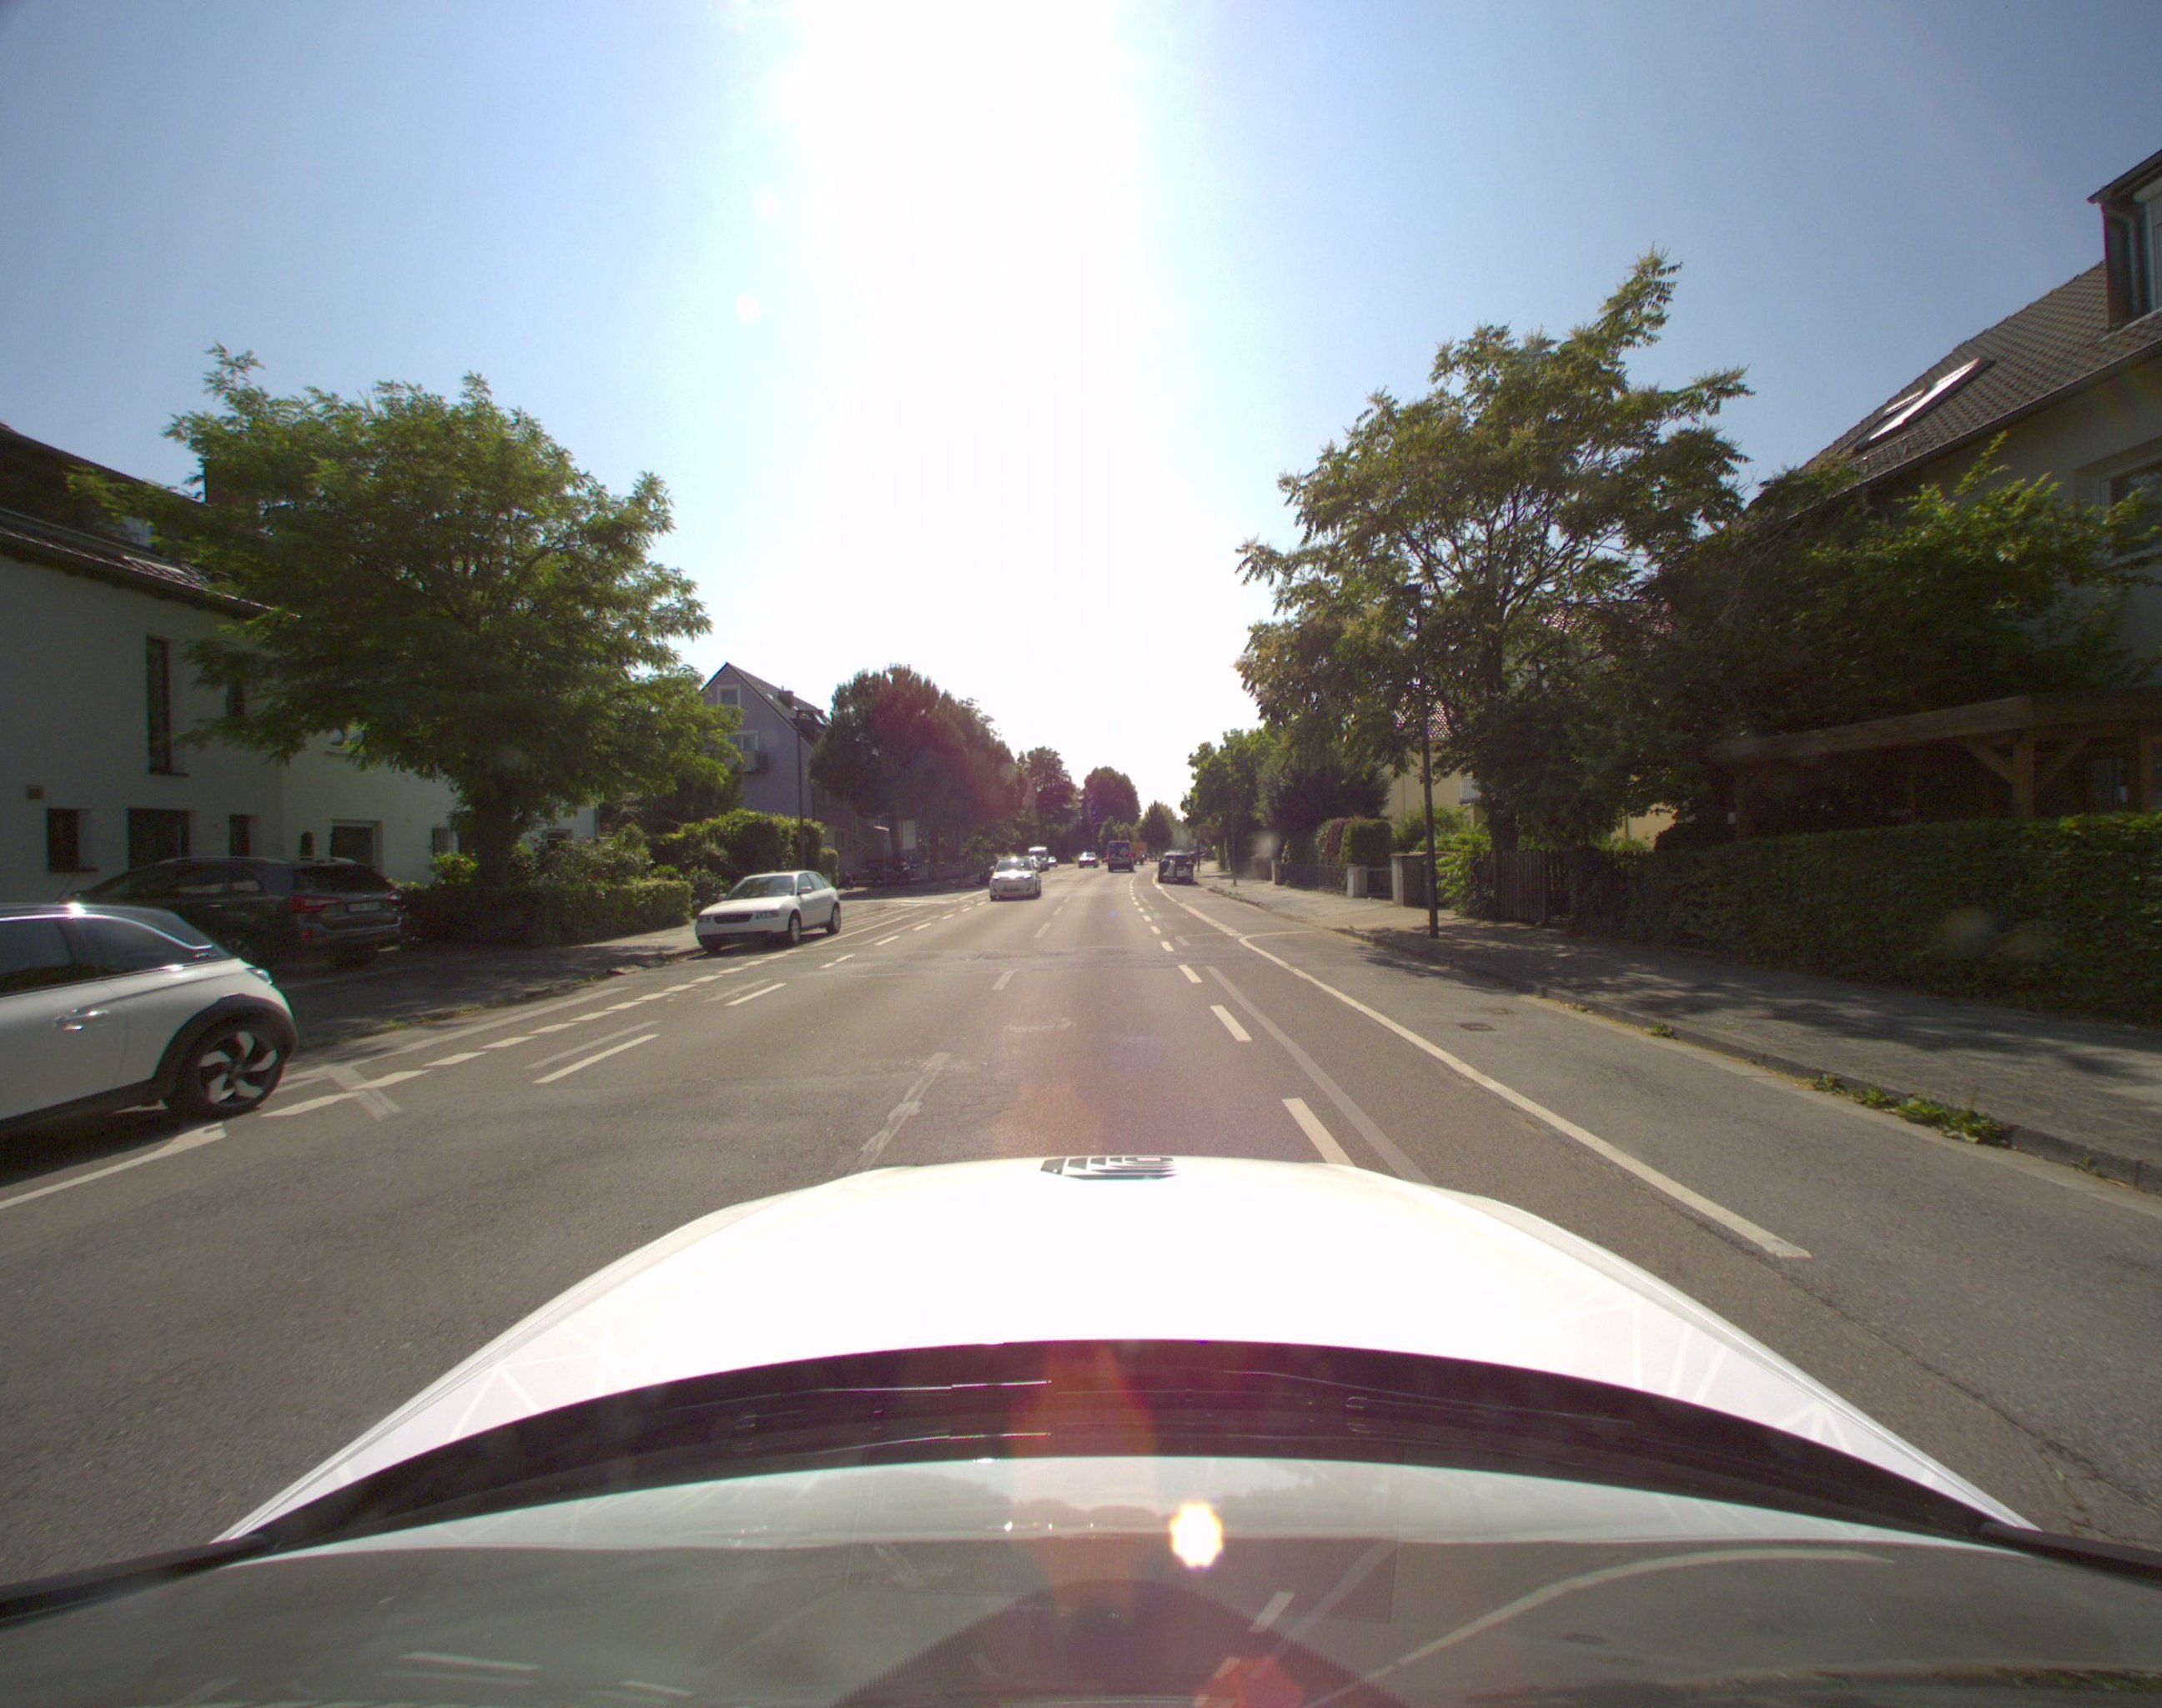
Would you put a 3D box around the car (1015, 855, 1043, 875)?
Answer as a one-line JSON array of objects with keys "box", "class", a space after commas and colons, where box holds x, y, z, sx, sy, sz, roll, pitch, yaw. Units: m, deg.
[{"box": [-4.312, 0.886, 67.409, 1.827, 1.595, 3.777, -2, 0, 3], "class": "car"}]

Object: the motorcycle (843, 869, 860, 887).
[{"box": [-12.845, 1.331, 45.523, 0.643, 0.990, 2.338, -2, 0, -22], "class": "motorcycle"}]

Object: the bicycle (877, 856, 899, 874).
[{"box": [-13.284, 0.748, 56.055, 0.531, 1.181, 1.456, -1, 2, 33], "class": "bicycle"}]

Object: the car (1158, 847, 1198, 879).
[{"box": [5.335, 0.466, 44.317, 1.773, 1.638, 4.484, 0, 0, 11], "class": "car"}]

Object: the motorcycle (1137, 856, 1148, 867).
[{"box": [6.880, 0.859, 91.710, 1.052, 1.122, 2.993, -2, 0, 2], "class": "motorcycle"}]

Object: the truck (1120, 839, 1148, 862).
[{"box": [7.103, -0.451, 109.013, 2.216, 2.946, 5.662, -2, 0, -12], "class": "truck"}]

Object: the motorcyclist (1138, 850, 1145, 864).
[{"box": [6.762, 0.317, 91.532, 0.669, 1.518, 0.652, -2, 0, 2], "class": "motorcyclist"}]

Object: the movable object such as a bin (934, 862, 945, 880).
[{"box": [-9.320, 1.113, 53.519, 0.541, 1.111, 0.586, -2, 0, 7], "class": "movable object such as a bin"}]

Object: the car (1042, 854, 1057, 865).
[{"box": [-4.115, 0.692, 106.547, 1.749, 1.343, 3.653, -2, 0, 0], "class": "car"}]

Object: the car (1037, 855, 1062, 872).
[{"box": [-2.914, 0.885, 76.266, 1.826, 1.496, 3.659, -2, 0, 5], "class": "car"}]

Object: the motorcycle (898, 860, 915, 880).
[{"box": [-11.089, 1.008, 51.757, 0.534, 1.182, 1.449, -2, 0, 7], "class": "motorcycle"}]

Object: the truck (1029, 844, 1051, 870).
[{"box": [-4.278, 0.282, 85.091, 2.075, 2.537, 5.464, -2, 0, -1], "class": "truck"}]

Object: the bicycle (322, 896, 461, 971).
[{"box": [-13.373, 1.498, 15.898, 0.688, 1.208, 2.252, -3, 0, 2], "class": "bicycle"}]

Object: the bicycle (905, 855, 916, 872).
[{"box": [-11.985, 0.669, 57.275, 0.536, 1.182, 1.444, -2, 0, -5], "class": "bicycle"}]

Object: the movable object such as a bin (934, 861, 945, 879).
[{"box": [-9.346, 1.063, 53.774, 0.602, 1.111, 0.432, -2, 0, 7], "class": "movable object such as a bin"}]

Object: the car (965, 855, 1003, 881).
[{"box": [-5.995, 0.848, 50.847, 1.775, 1.460, 4.086, -4, 0, 0], "class": "car"}]

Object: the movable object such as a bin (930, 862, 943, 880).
[{"box": [-9.423, 1.096, 53.207, 0.602, 1.111, 0.664, -2, 0, 7], "class": "movable object such as a bin"}]

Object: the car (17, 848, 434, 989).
[{"box": [-12.332, 0.864, 11.972, 3.972, 1.759, 2.001, -2, 0, 1], "class": "car"}]

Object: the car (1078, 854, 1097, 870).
[{"box": [0.732, 0.874, 92.022, 1.986, 1.657, 4.607, -2, 0, 2], "class": "car"}]

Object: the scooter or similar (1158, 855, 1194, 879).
[{"box": [4.837, 0.659, 41.537, 0.724, 1.154, 1.775, 2, 0, -44], "class": "scooter or similar"}]

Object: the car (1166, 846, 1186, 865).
[{"box": [9.150, 0.140, 78.798, 1.693, 1.677, 3.779, -2, 0, 4], "class": "car"}]

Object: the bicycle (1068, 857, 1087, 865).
[{"box": [-0.562, 1.022, 122.525, 2.685, 1.047, 1.024, -2, 0, -7], "class": "bicycle"}]

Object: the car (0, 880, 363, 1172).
[{"box": [-6.568, 0.991, 4.336, 1.778, 1.440, 4.002, -3, 0, 2], "class": "car"}]

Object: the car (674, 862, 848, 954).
[{"box": [-6.265, 0.983, 16.485, 1.779, 1.440, 4.001, -4, 0, 1], "class": "car"}]

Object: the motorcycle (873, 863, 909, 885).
[{"box": [-10.814, 1.149, 46.276, 1.830, 1.182, 0.644, -2, 0, 6], "class": "motorcycle"}]

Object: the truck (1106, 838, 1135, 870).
[{"box": [3.392, 0.013, 69.753, 2.262, 2.571, 4.397, -2, 0, 4], "class": "truck"}]

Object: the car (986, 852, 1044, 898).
[{"box": [-2.426, 0.750, 30.799, 1.726, 1.541, 4.000, -3, 0, 1], "class": "car"}]
